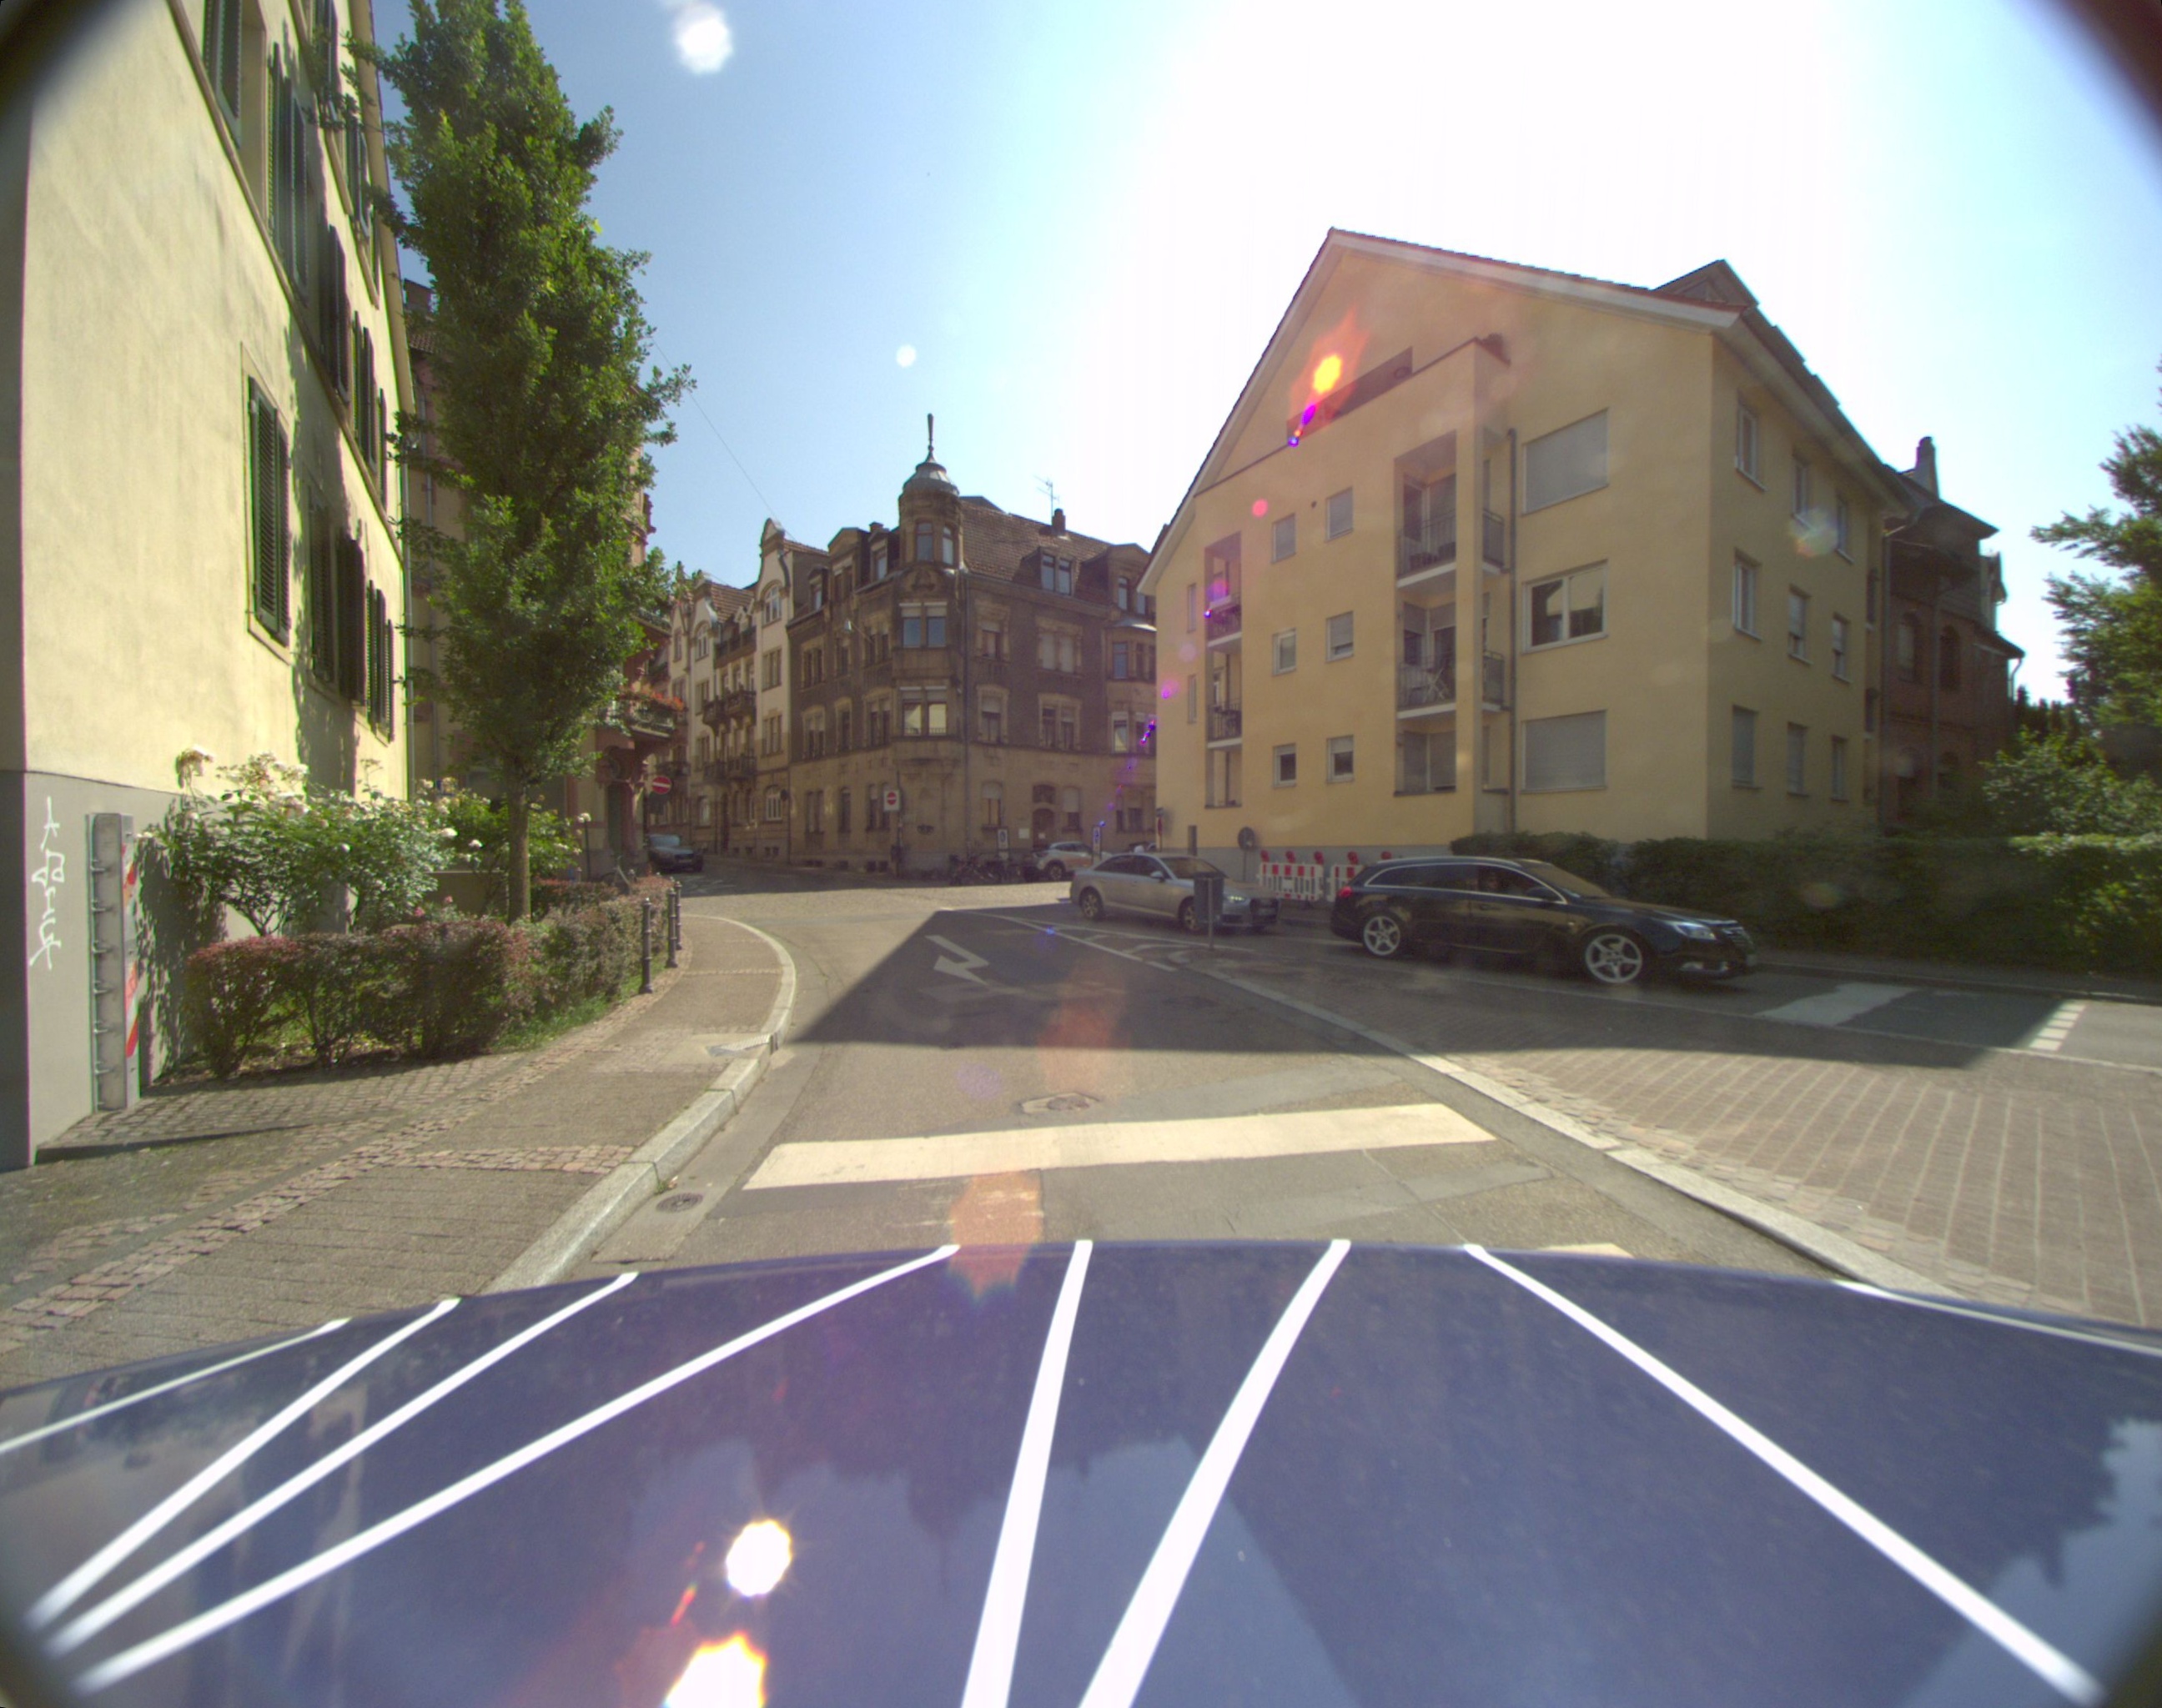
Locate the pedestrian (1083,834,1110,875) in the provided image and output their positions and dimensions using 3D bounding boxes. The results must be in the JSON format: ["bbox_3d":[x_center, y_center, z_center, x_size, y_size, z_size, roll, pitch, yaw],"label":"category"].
[{"bbox_3d":[0.670,0.008,32.999,0.982,1.749,0.621,-2,6,-37],"label":"pedestrian"}]

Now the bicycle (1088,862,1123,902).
[{"bbox_3d":[0.706,0.800,22.466,0.392,1.073,1.906,0,1,-19],"label":"bicycle"}]

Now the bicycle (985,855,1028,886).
[{"bbox_3d":[-2.758,0.615,28.016,1.638,1.079,0.286,-2,-2,26],"label":"bicycle"}]

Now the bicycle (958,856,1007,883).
[{"bbox_3d":[-3.666,0.579,28.210,1.637,1.084,0.285,2,46,43],"label":"bicycle"}]

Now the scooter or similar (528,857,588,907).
[{"bbox_3d":[-13.537,0.705,19.691,0.441,1.228,1.193,1,2,40],"label":"scooter or similar"}]

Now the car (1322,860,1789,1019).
[{"bbox_3d":[5.631,0.855,9.673,1.723,1.453,4.711,2,0,-38],"label":"car"}]

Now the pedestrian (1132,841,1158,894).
[{"bbox_3d":[1.963,0.413,23.421,0.658,1.609,0.492,-1,2,-23],"label":"pedestrian"}]

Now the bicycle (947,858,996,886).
[{"bbox_3d":[-4.018,0.653,27.859,1.637,1.084,0.285,2,46,43],"label":"bicycle"}]

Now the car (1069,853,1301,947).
[{"bbox_3d":[1.846,0.758,14.744,1.881,1.484,4.370,-1,1,-38],"label":"car"}]

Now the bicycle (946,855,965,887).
[{"bbox_3d":[-4.550,0.608,27.489,0.286,1.080,1.639,-4,2,-22],"label":"bicycle"}]

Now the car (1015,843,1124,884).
[{"bbox_3d":[-0.426,0.325,29.910,3.936,1.535,1.847,-1,1,-37],"label":"car"}]

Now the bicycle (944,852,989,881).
[{"bbox_3d":[-4.500,0.492,29.877,1.645,1.080,0.494,0,5,-36],"label":"bicycle"}]

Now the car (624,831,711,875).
[{"bbox_3d":[-17.146,-0.109,31.438,4.246,1.574,1.866,3,5,43],"label":"car"}]

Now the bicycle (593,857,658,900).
[{"bbox_3d":[-12.746,0.682,21.254,1.789,1.140,0.506,1,1,18],"label":"bicycle"}]

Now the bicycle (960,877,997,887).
[{"bbox_3d":[-3.735,1.025,27.588,1.080,0.286,1.121,0,1,-22],"label":"bicycle"}]

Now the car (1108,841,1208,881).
[{"bbox_3d":[3.314,0.278,32.497,4.007,1.535,1.848,-2,1,-35],"label":"car"}]
